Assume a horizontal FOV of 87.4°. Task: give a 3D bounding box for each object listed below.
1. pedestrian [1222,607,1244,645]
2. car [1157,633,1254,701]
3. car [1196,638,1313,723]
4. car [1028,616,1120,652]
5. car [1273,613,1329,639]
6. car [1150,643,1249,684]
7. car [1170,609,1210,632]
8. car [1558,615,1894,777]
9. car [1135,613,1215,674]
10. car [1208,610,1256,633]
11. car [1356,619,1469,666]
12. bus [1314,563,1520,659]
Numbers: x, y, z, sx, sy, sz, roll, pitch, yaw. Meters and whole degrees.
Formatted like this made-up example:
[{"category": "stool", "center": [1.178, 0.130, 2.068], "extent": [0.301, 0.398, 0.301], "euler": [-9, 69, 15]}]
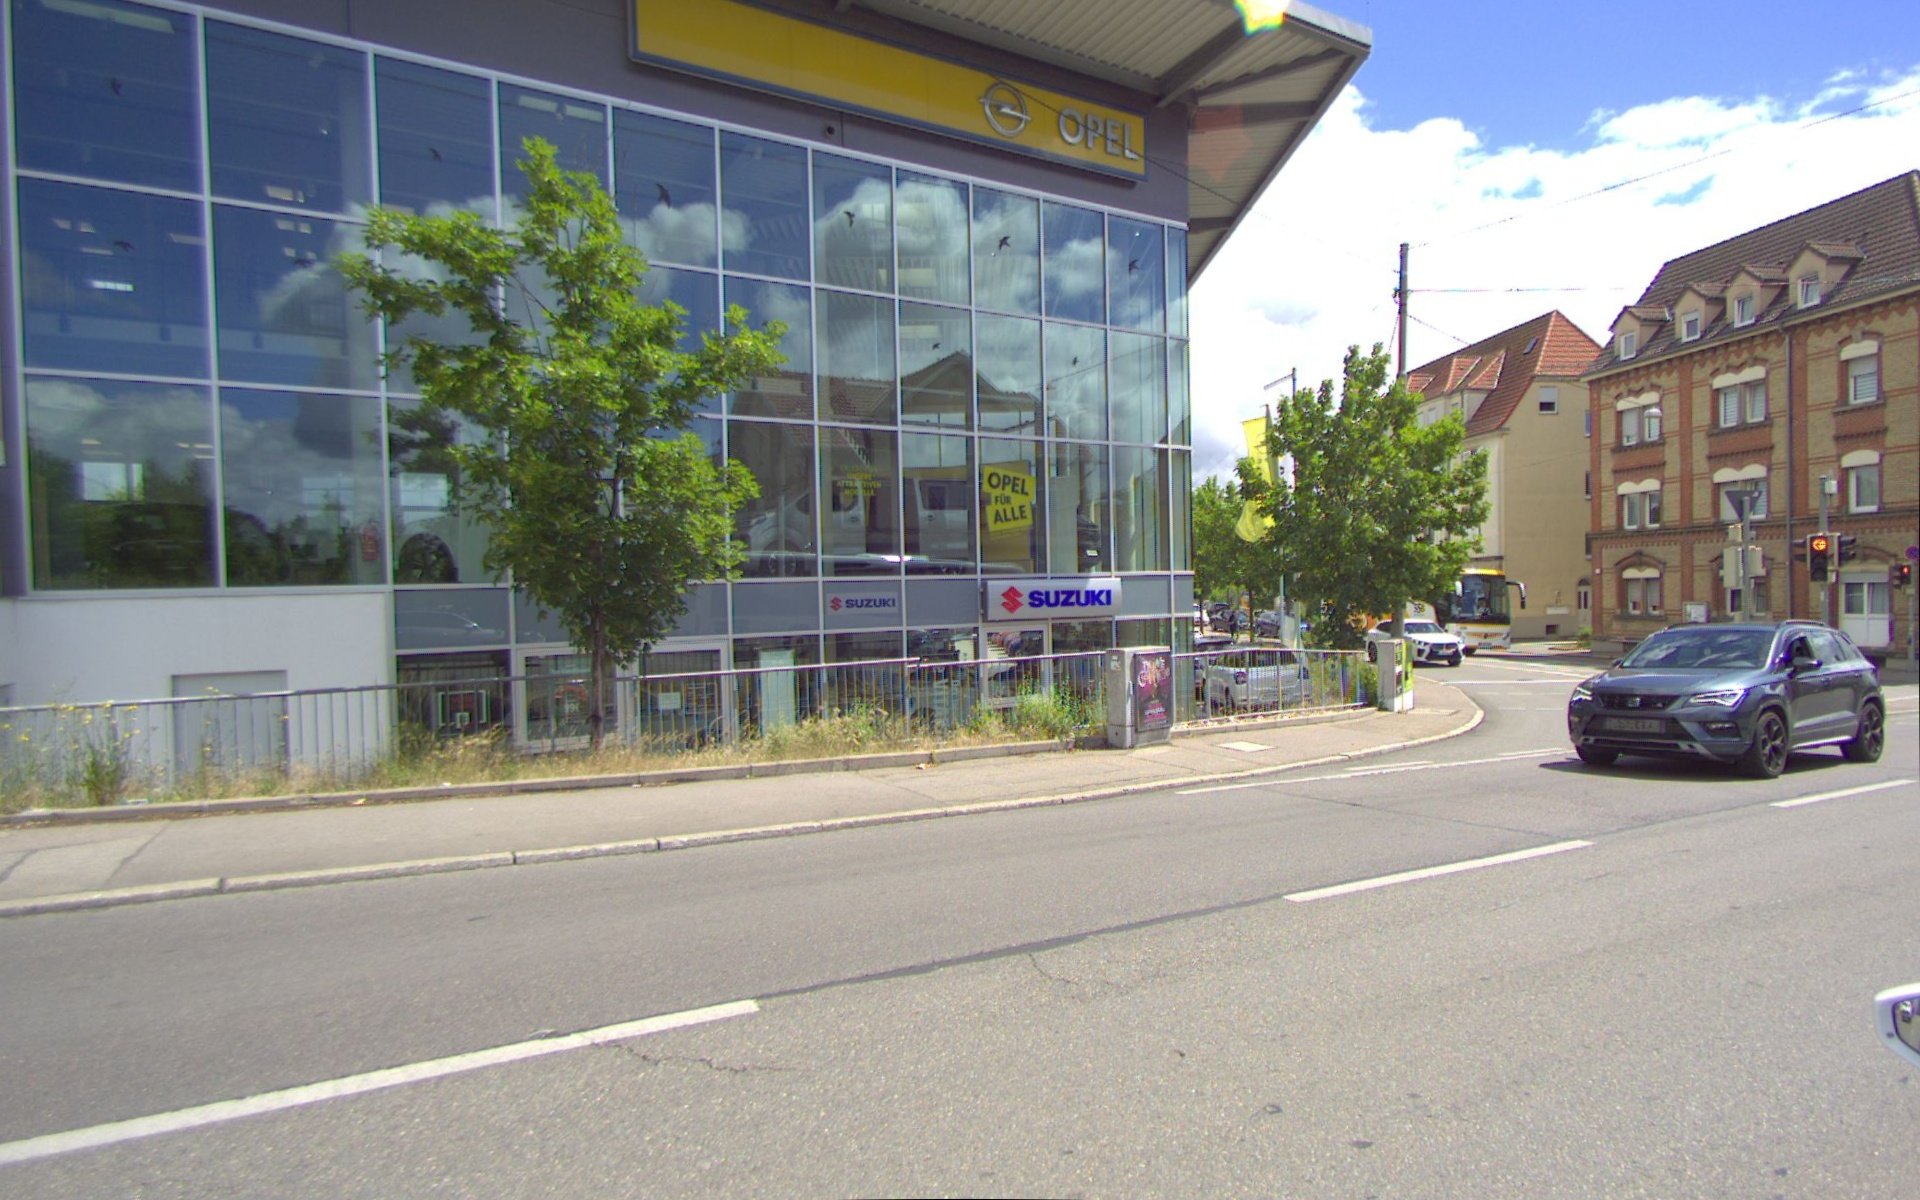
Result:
[{"category": "pedestrian", "center": [12.704, 1.214, 46.711], "extent": [0.744, 1.757, 1.145], "euler": [1, -1, 2]}, {"category": "car", "center": [6.399, 1.708, 26.537], "extent": [1.584, 1.547, 3.499], "euler": [-1, 0, -2]}, {"category": "car", "center": [6.441, 1.718, 22.278], "extent": [1.648, 1.582, 3.365], "euler": [-1, 0, 1]}, {"category": "car", "center": [5.237, 1.543, 46.406], "extent": [3.925, 1.574, 1.805], "euler": [1, -1, -7]}, {"category": "car", "center": [19.523, 1.474, 57.633], "extent": [1.717, 1.428, 3.999], "euler": [1, -1, -3]}, {"category": "car", "center": [9.272, 2.447, 39.112], "extent": [3.430, 1.497, 1.800], "euler": [1, -1, 1]}, {"category": "car", "center": [16.747, 1.505, 73.250], "extent": [1.874, 1.574, 3.999], "euler": [1, -1, -2]}, {"category": "car", "center": [8.715, 0.957, 11.370], "extent": [3.913, 1.542, 1.749], "euler": [1, -1, -32]}, {"category": "car", "center": [6.549, 1.276, 30.962], "extent": [1.620, 1.703, 3.499], "euler": [-1, 0, -2]}, {"category": "car", "center": [17.546, 1.398, 64.940], "extent": [1.874, 1.428, 3.999], "euler": [1, -1, -2]}, {"category": "car", "center": [15.961, 1.471, 35.692], "extent": [1.799, 1.572, 4.304], "euler": [0, -1, -5]}, {"category": "bus", "center": [19.969, 0.345, 45.230], "extent": [2.719, 3.670, 12.253], "euler": [1, 1, -5]}]
